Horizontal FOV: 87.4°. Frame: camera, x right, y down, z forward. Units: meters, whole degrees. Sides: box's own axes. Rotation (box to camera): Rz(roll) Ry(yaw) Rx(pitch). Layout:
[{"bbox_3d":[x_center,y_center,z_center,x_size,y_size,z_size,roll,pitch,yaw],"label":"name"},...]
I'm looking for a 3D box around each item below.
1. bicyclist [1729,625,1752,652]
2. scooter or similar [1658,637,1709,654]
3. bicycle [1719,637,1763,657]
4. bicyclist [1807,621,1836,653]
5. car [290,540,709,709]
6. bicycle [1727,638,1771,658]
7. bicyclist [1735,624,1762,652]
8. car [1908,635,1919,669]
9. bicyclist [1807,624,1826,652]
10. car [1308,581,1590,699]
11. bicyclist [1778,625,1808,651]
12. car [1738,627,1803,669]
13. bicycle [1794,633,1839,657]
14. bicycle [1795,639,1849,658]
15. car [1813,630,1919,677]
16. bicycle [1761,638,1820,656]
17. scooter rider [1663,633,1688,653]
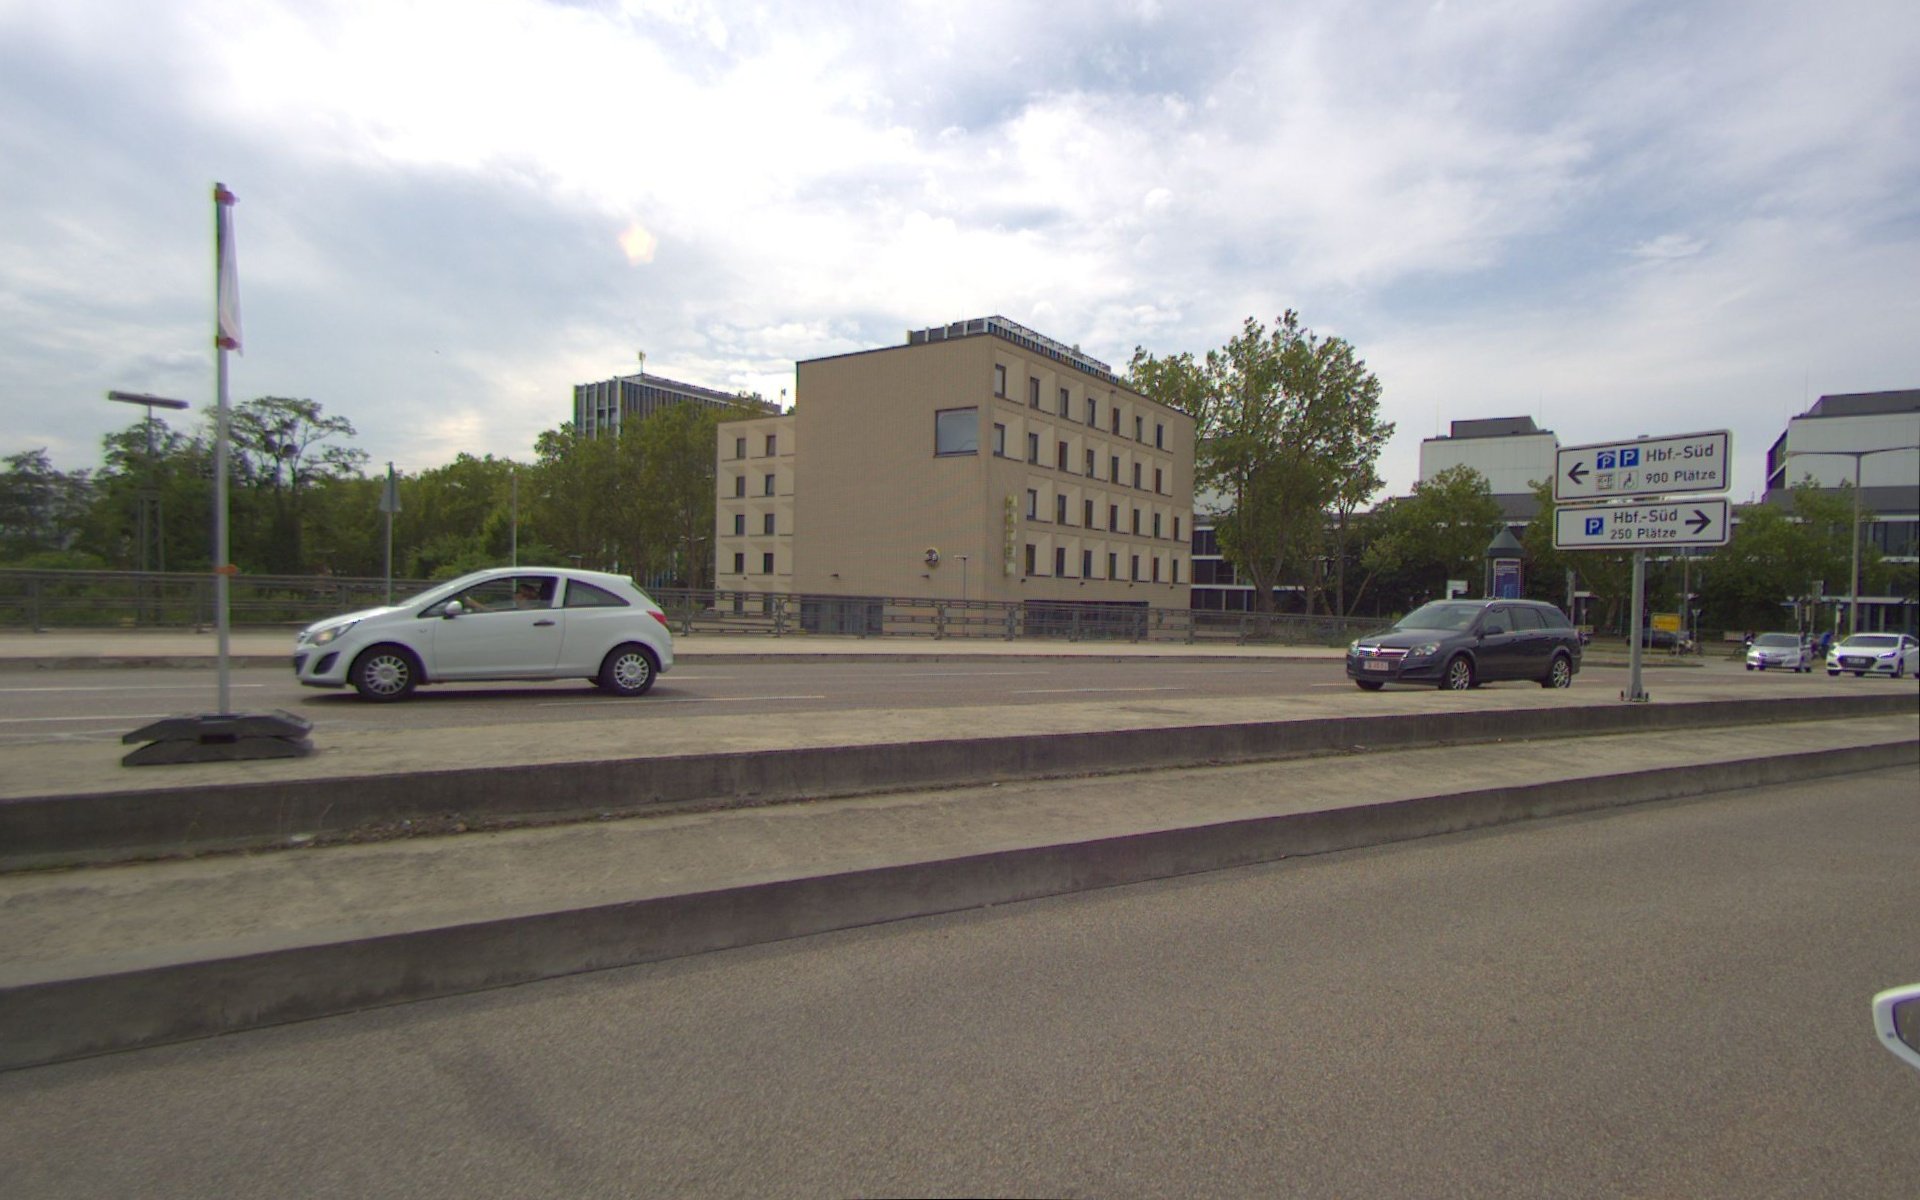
[{"bbox_3d":[45.029,2.219,57.982,0.824,1.550,0.629,2,1,15],"label":"bicyclist"},{"bbox_3d":[42.466,2.676,58.997,2.338,0.861,0.809,2,0,5],"label":"scooter or similar"},{"bbox_3d":[45.057,2.692,57.970,1.869,1.027,0.629,2,0,15],"label":"bicycle"},{"bbox_3d":[47.212,2.026,55.052,0.866,1.678,0.812,2,0,3],"label":"bicyclist"},{"bbox_3d":[-5.286,0.278,11.789,4.170,1.662,1.877,2,0,-32],"label":"car"},{"bbox_3d":[44.803,2.720,57.053,1.869,1.027,0.628,2,0,19],"label":"bicycle"},{"bbox_3d":[44.795,2.165,57.049,0.999,1.560,0.628,2,1,19],"label":"bicyclist"},{"bbox_3d":[48.564,2.628,50.116,1.722,1.680,4.058,1,-2,42],"label":"car"},{"bbox_3d":[49.167,2.177,57.663,0.769,1.602,0.652,2,1,37],"label":"bicyclist"},{"bbox_3d":[7.912,0.603,16.148,4.531,1.662,1.878,2,0,-31],"label":"car"},{"bbox_3d":[47.446,2.163,57.230,1.094,1.456,0.648,1,0,9],"label":"bicyclist"},{"bbox_3d":[32.328,1.867,40.185,1.895,1.547,4.862,0,-1,38],"label":"car"},{"bbox_3d":[49.171,2.579,57.671,1.876,1.226,0.640,2,1,37],"label":"bicycle"},{"bbox_3d":[47.219,2.656,55.049,2.190,0.965,0.812,2,0,3],"label":"bicycle"},{"bbox_3d":[30.755,1.761,33.828,4.831,1.434,1.907,2,-1,-34],"label":"car"},{"bbox_3d":[47.306,2.659,57.237,2.539,0.902,0.705,2,0,9],"label":"bicycle"},{"bbox_3d":[42.050,2.515,59.038,0.898,1.152,0.809,2,0,5],"label":"scooter rider"}]
